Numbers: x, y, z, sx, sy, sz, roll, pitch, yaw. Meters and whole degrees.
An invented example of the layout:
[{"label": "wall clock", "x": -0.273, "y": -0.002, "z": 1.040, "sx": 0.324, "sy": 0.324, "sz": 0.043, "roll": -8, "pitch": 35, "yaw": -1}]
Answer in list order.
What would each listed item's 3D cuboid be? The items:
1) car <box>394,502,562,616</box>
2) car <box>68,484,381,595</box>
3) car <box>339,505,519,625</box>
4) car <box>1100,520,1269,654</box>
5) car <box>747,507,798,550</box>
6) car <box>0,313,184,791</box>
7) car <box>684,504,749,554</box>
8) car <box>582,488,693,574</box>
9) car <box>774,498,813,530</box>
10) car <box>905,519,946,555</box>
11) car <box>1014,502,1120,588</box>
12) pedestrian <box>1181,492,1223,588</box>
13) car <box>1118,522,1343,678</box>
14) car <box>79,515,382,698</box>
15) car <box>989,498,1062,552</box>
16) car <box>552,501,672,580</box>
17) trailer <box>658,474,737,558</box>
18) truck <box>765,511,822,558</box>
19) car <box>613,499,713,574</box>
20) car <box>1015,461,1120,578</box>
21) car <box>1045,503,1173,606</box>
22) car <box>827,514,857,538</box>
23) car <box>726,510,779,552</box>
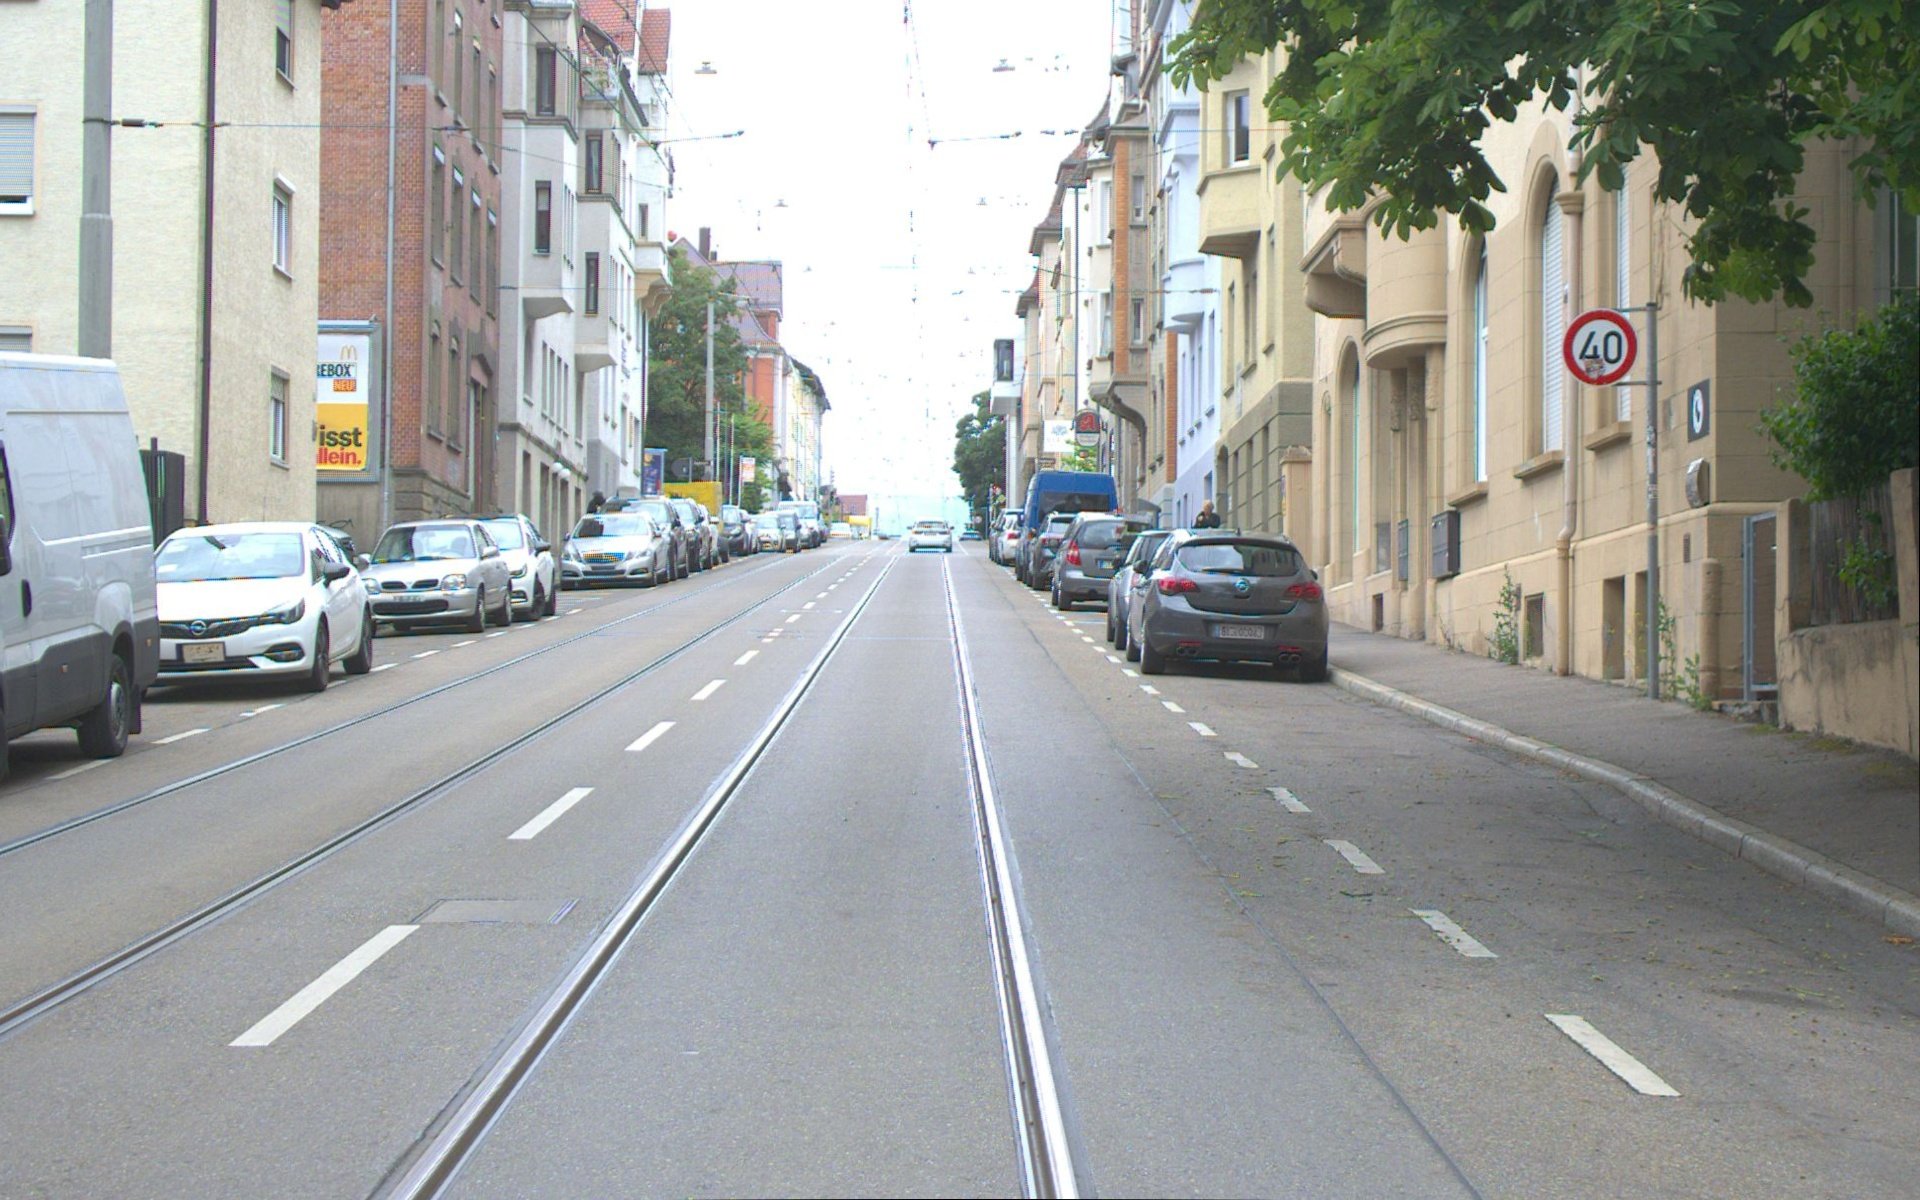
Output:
[{"label": "car", "x": -6.683, "y": -0.611, "z": 48.087, "sx": 1.827, "sy": 1.424, "sz": 4.628, "roll": -3, "pitch": 2, "yaw": -2}, {"label": "car", "x": -13.028, "y": -1.091, "z": 61.116, "sx": 5.173, "sy": 1.812, "sz": 1.941, "roll": -2, "pitch": 2, "yaw": -4}, {"label": "car", "x": -6.697, "y": -0.476, "z": 43.689, "sx": 1.600, "sy": 1.363, "sz": 3.807, "roll": -3, "pitch": 2, "yaw": 1}, {"label": "car", "x": 2.615, "y": -0.190, "z": 40.696, "sx": 1.695, "sy": 1.399, "sz": 3.668, "roll": 3, "pitch": 2, "yaw": 0}, {"label": "car", "x": -7.727, "y": -2.961, "z": 142.228, "sx": 1.744, "sy": 1.730, "sz": 4.519, "roll": -1, "pitch": 1, "yaw": 1}, {"label": "car", "x": -6.376, "y": -0.287, "z": 20.559, "sx": 2.158, "sy": 2.598, "sz": 6.220, "roll": -2, "pitch": 2, "yaw": -2}, {"label": "car", "x": -7.287, "y": -2.134, "z": 103.217, "sx": 1.697, "sy": 1.463, "sz": 3.023, "roll": -1, "pitch": 1, "yaw": 0}, {"label": "car", "x": -6.805, "y": -1.488, "z": 72.955, "sx": 1.827, "sy": 1.712, "sz": 4.914, "roll": -1, "pitch": 2, "yaw": 0}, {"label": "car", "x": -7.759, "y": -3.999, "z": 160.585, "sx": 1.697, "sy": 1.428, "sz": 4.482, "roll": -1, "pitch": 1, "yaw": -2}, {"label": "car", "x": -1.493, "y": -2.731, "z": 148.067, "sx": 1.672, "sy": 1.508, "sz": 3.798, "roll": 1, "pitch": 1, "yaw": -2}, {"label": "car", "x": 2.085, "y": -1.103, "z": 68.084, "sx": 1.779, "sy": 1.525, "sz": 4.193, "roll": 4, "pitch": 1, "yaw": -1}, {"label": "pedestrian", "x": 4.354, "y": -1.072, "z": 61.808, "sx": 0.540, "sy": 1.676, "sz": 0.516, "roll": -4, "pitch": -1, "yaw": -8}, {"label": "car", "x": 2.653, "y": -0.035, "z": 34.606, "sx": 1.839, "sy": 1.398, "sz": 4.168, "roll": 3, "pitch": 1, "yaw": -1}, {"label": "car", "x": -6.299, "y": 0.002, "z": 30.134, "sx": 1.719, "sy": 1.398, "sz": 4.314, "roll": -2, "pitch": 2, "yaw": 0}, {"label": "car", "x": 1.793, "y": -2.074, "z": 95.167, "sx": 1.750, "sy": 1.386, "sz": 4.308, "roll": 3, "pitch": 1, "yaw": -2}, {"label": "car", "x": -6.787, "y": -1.197, "z": 67.487, "sx": 1.827, "sy": 1.424, "sz": 4.839, "roll": -1, "pitch": 2, "yaw": 0}, {"label": "trailer", "x": -6.960, "y": -2.243, "z": 91.472, "sx": 1.748, "sy": 2.148, "sz": 4.071, "roll": -1, "pitch": 2, "yaw": 0}, {"label": "truck", "x": -8.078, "y": -3.186, "z": 167.341, "sx": 2.280, "sy": 2.180, "sz": 8.025, "roll": 1, "pitch": 1, "yaw": 1}, {"label": "car", "x": -6.953, "y": -1.513, "z": 80.924, "sx": 1.873, "sy": 1.658, "sz": 4.892, "roll": -1, "pitch": 2, "yaw": 0}, {"label": "car", "x": 2.256, "y": -1.702, "z": 73.496, "sx": 1.993, "sy": 2.368, "sz": 5.056, "roll": 1, "pitch": 1, "yaw": 0}, {"label": "car", "x": 2.385, "y": -0.773, "z": 55.896, "sx": 1.827, "sy": 1.513, "sz": 4.028, "roll": 3, "pitch": 2, "yaw": 0}, {"label": "car", "x": -8.061, "y": -5.049, "z": 235.020, "sx": 1.855, "sy": 1.601, "sz": 4.297, "roll": 1, "pitch": 1, "yaw": -1}, {"label": "car", "x": -7.886, "y": -2.637, "z": 131.051, "sx": 1.697, "sy": 1.550, "sz": 3.850, "roll": 1, "pitch": 1, "yaw": 1}]
